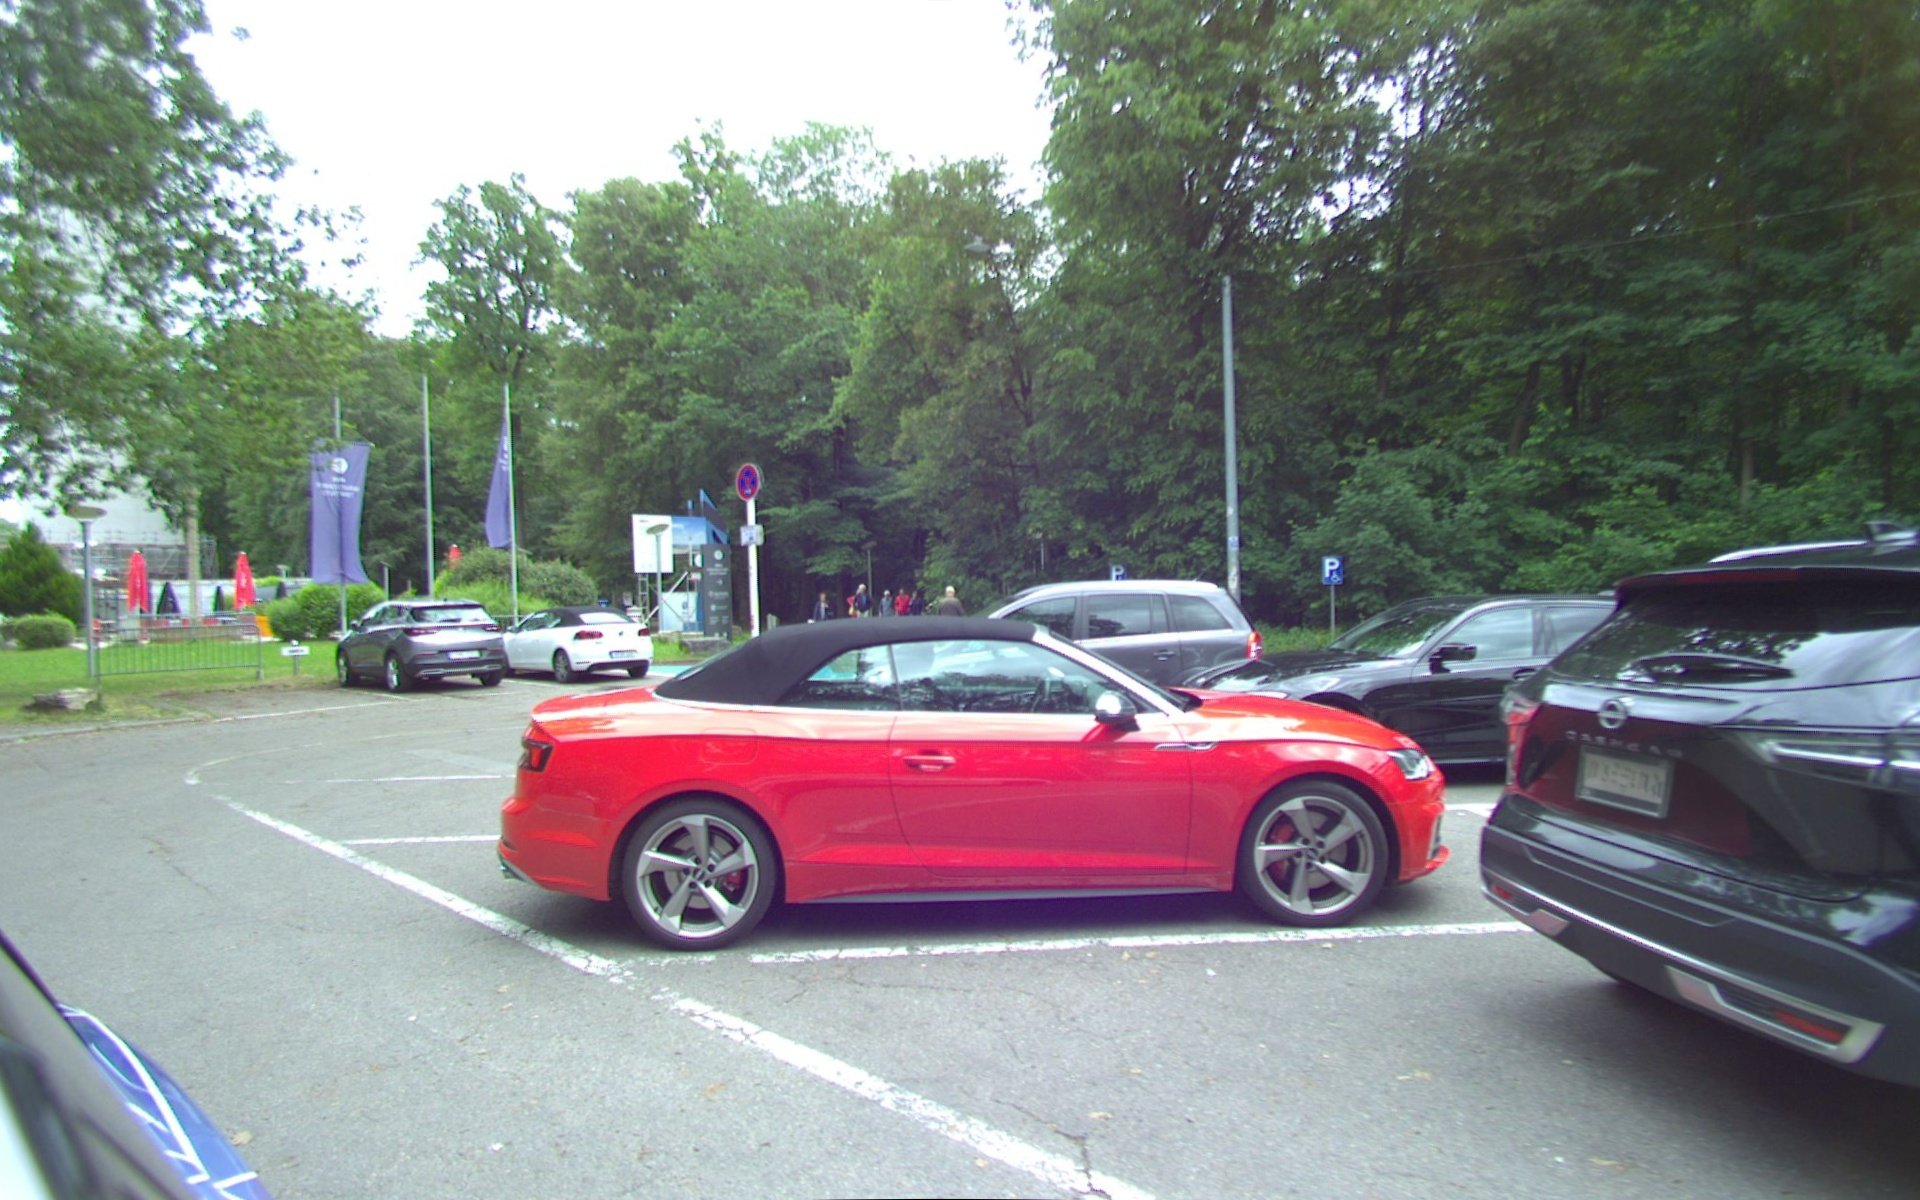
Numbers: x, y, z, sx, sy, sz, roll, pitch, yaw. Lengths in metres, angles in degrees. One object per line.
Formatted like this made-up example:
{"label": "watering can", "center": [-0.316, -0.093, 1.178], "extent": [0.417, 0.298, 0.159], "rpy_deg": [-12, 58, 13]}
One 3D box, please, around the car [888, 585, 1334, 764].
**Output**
{"label": "car", "center": [1.436, 0.714, 10.721], "extent": [4.321, 1.621, 1.831], "rpy_deg": [-1, 0, -5]}

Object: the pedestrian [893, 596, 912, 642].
{"label": "pedestrian", "center": [-2.252, 0.748, 39.667], "extent": [0.672, 1.781, 0.713], "rpy_deg": [-1, 0, 1]}

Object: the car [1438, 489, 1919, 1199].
{"label": "car", "center": [3.823, 0.581, 2.924], "extent": [3.938, 1.676, 1.901], "rpy_deg": [-1, -1, -6]}

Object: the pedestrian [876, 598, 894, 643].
{"label": "pedestrian", "center": [-2.821, 0.761, 37.954], "extent": [0.600, 1.686, 0.605], "rpy_deg": [-1, 0, 1]}

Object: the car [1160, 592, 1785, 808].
{"label": "car", "center": [3.967, 0.714, 8.258], "extent": [4.213, 1.454, 1.762], "rpy_deg": [-1, 0, -5]}

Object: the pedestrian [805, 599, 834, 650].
{"label": "pedestrian", "center": [-4.567, 0.801, 32.984], "extent": [0.769, 1.646, 0.636], "rpy_deg": [-1, 0, 7]}

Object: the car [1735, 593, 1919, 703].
{"label": "car", "center": [13.364, 0.617, 14.067], "extent": [1.881, 1.433, 4.004], "rpy_deg": [-1, 0, -4]}

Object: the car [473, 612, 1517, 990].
{"label": "car", "center": [0.142, 0.825, 5.094], "extent": [4.326, 1.404, 1.771], "rpy_deg": [-1, 0, -3]}

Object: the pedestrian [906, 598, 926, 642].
{"label": "pedestrian", "center": [-1.688, 0.759, 38.903], "extent": [0.672, 1.686, 0.662], "rpy_deg": [-1, 0, 1]}

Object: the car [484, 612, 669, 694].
{"label": "car", "center": [-7.742, 0.999, 20.274], "extent": [4.000, 1.439, 1.872], "rpy_deg": [-1, 0, 43]}

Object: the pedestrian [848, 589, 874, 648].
{"label": "pedestrian", "center": [-3.296, 0.616, 33.782], "extent": [0.726, 1.930, 0.667], "rpy_deg": [-1, 0, 7]}

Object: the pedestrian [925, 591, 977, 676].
{"label": "pedestrian", "center": [-0.191, 0.691, 21.319], "extent": [0.760, 1.738, 0.889], "rpy_deg": [-1, -1, 25]}

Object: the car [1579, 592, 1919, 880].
{"label": "car", "center": [6.228, 0.677, 6.173], "extent": [3.789, 1.454, 1.774], "rpy_deg": [-1, 0, -3]}

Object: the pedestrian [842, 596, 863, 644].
{"label": "pedestrian", "center": [-4.045, 0.746, 38.194], "extent": [0.674, 1.775, 0.605], "rpy_deg": [-1, 0, 1]}

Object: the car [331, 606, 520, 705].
{"label": "car", "center": [-9.957, 0.948, 18.738], "extent": [4.000, 1.597, 1.872], "rpy_deg": [-1, 0, 43]}
